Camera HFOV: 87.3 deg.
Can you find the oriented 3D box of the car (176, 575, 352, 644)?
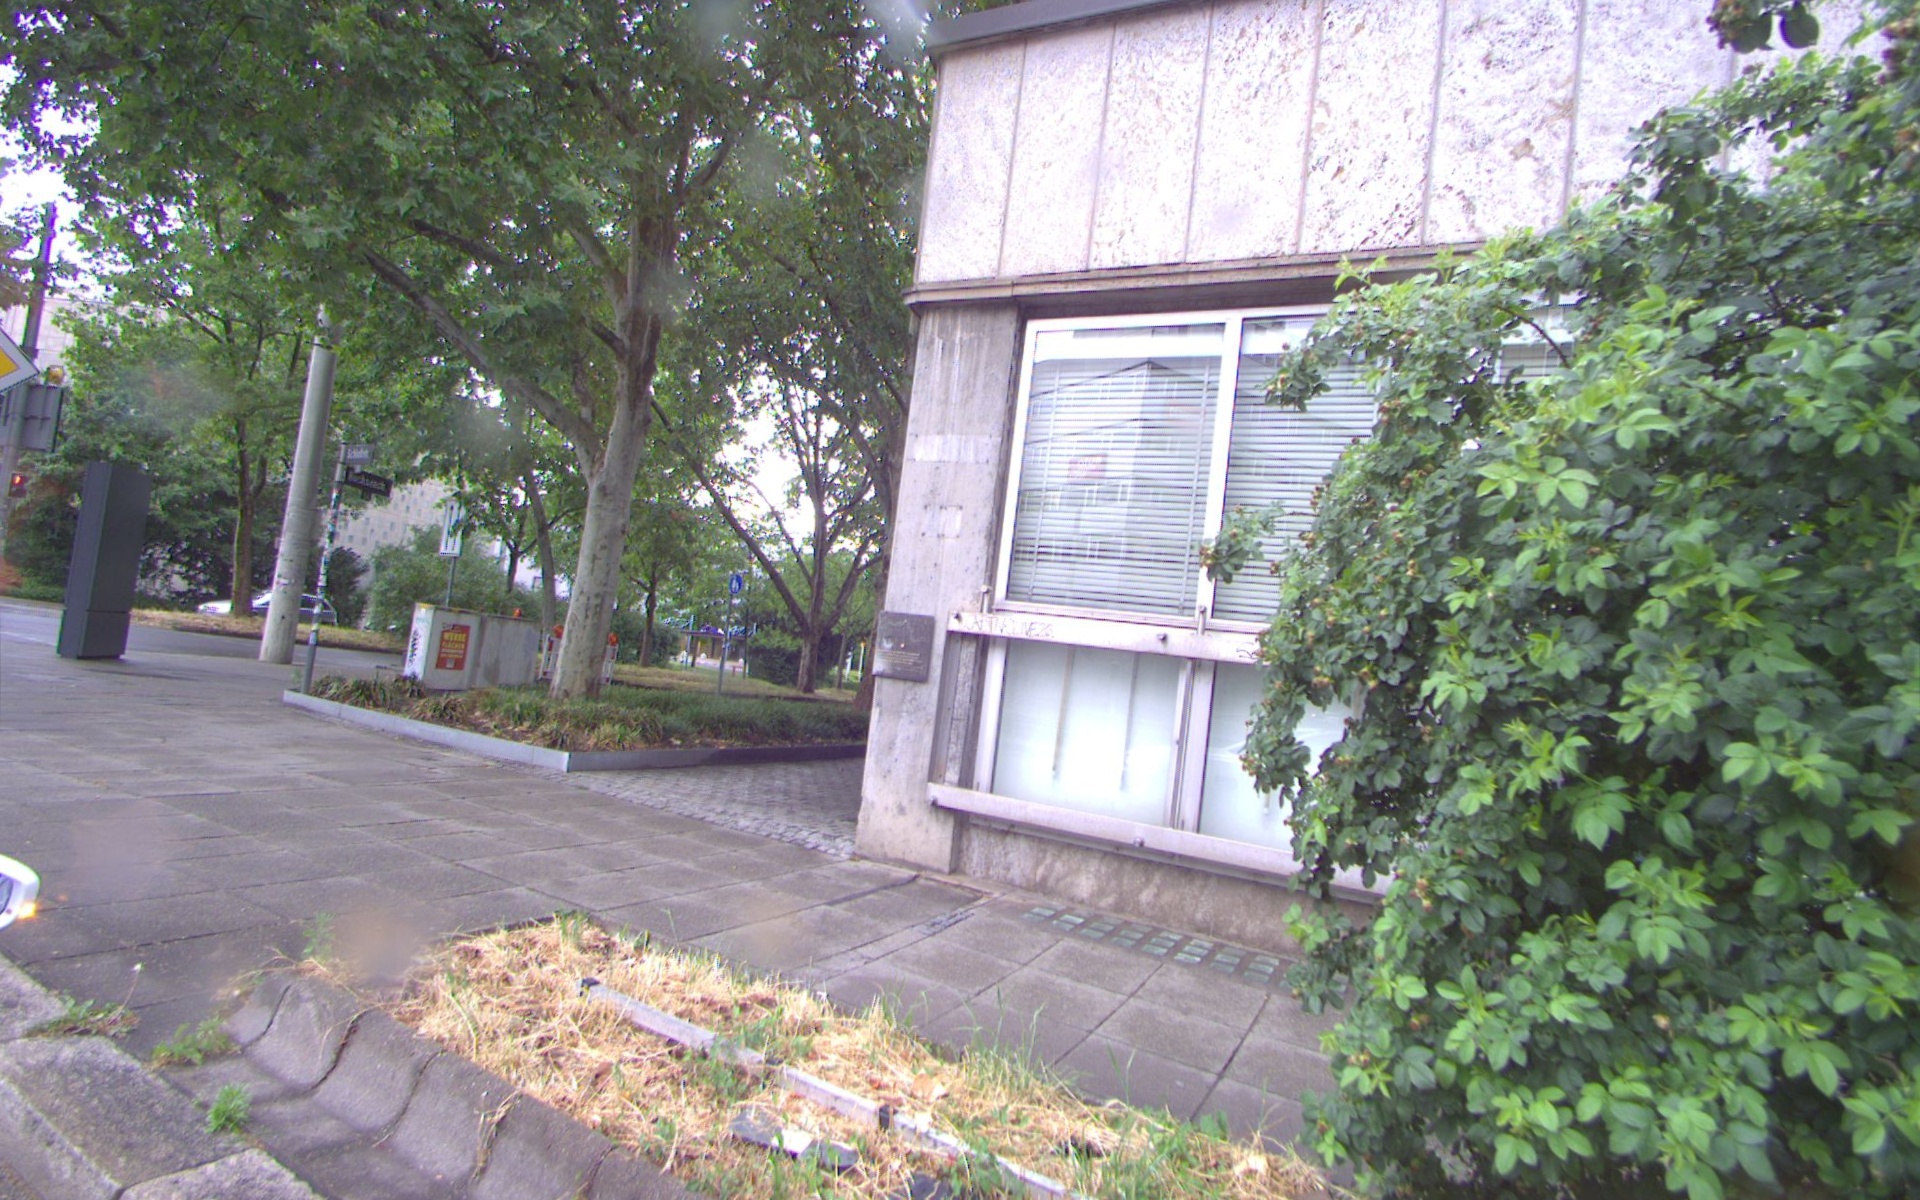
[{"bbox_3d":[-22.004,0.348,31.979,1.964,1.456,4.007,6,-6,25],"label":"car"}]
